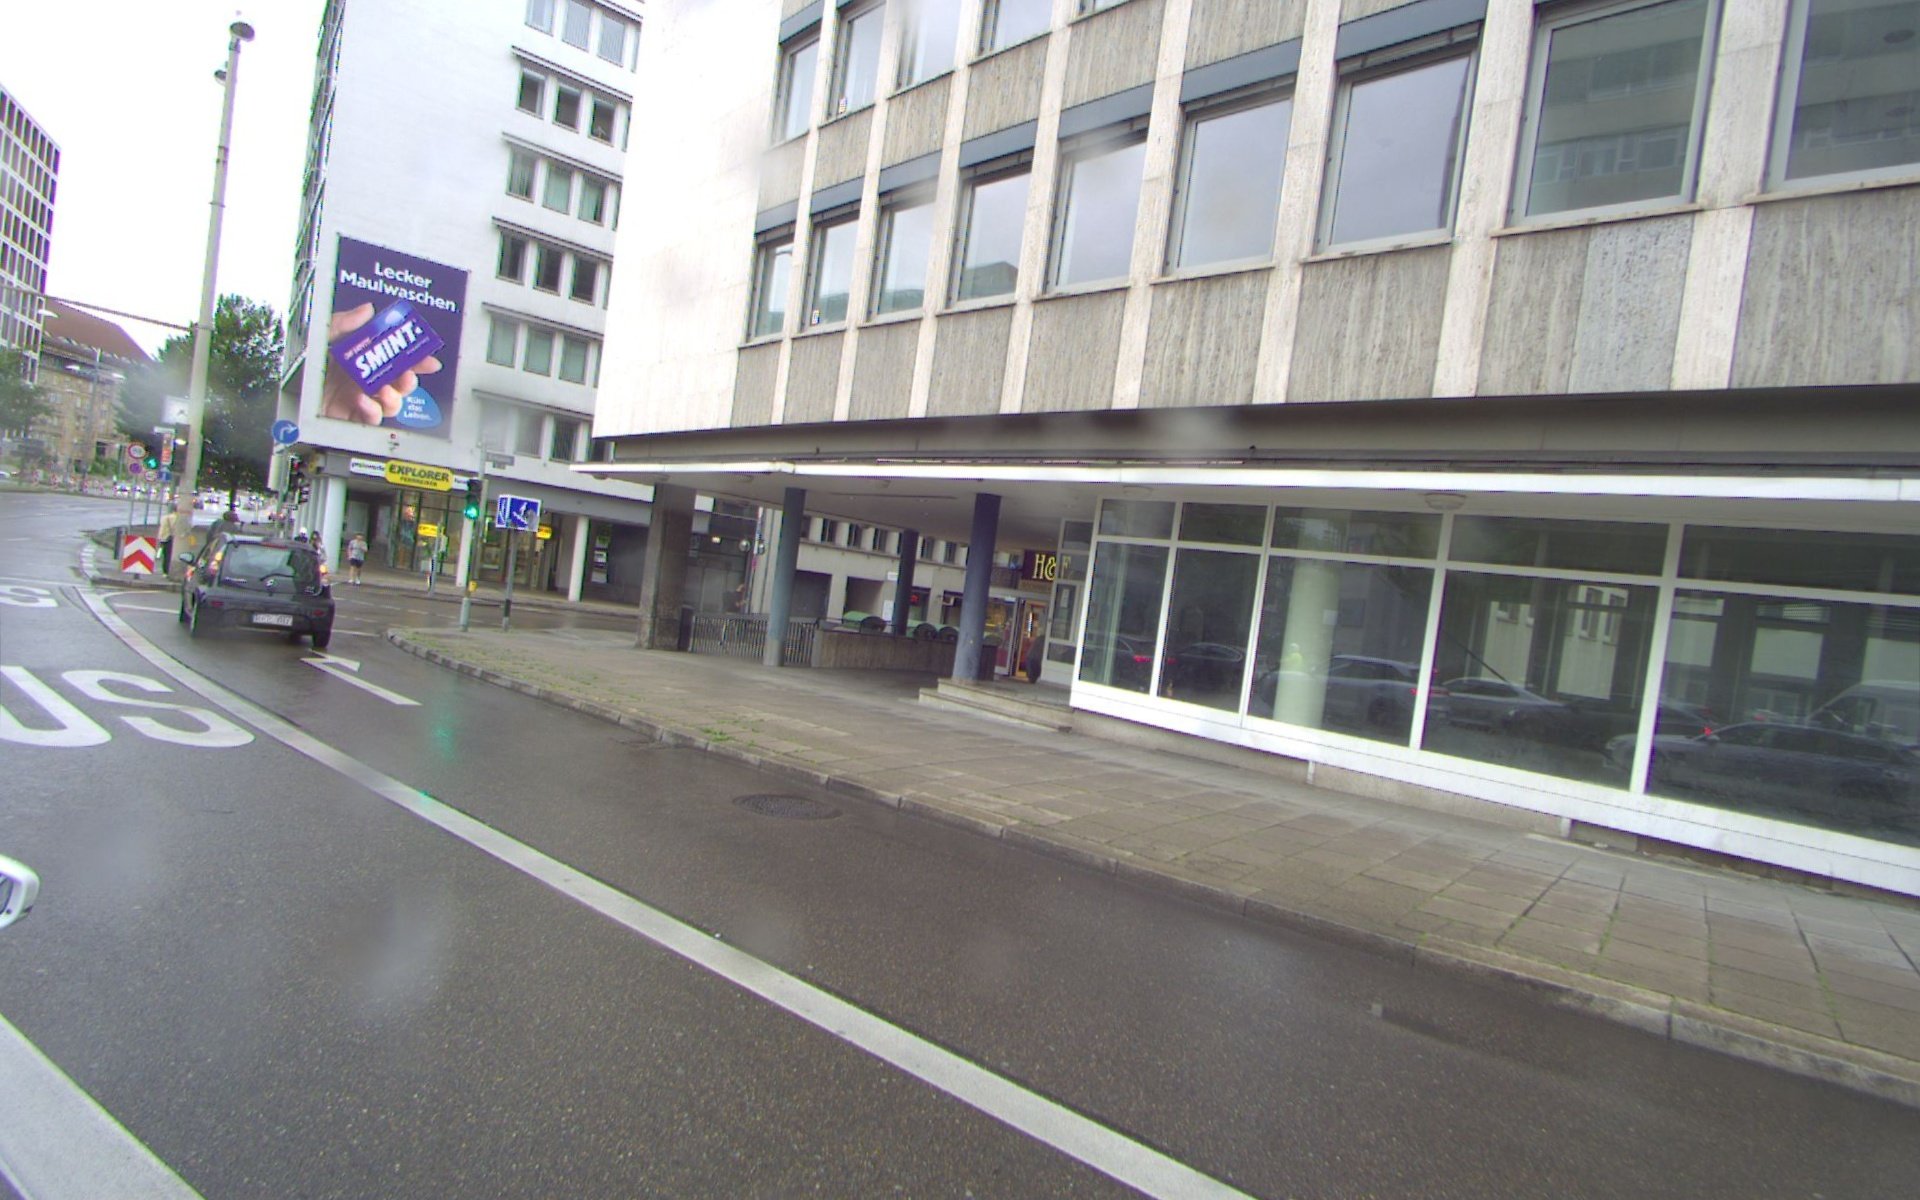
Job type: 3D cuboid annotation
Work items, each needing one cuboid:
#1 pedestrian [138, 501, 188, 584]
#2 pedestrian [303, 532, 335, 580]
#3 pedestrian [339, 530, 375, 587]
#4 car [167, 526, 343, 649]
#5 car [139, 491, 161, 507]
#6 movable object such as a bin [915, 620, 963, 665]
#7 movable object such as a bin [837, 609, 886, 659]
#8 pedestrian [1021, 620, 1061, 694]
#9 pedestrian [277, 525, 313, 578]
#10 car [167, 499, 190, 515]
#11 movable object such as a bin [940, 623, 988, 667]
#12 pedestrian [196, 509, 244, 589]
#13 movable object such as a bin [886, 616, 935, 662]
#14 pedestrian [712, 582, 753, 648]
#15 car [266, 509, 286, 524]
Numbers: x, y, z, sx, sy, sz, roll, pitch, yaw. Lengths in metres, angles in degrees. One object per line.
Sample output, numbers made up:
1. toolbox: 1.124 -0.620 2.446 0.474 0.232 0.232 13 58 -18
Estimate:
1. pedestrian: -18.604 -1.352 23.492 0.745 1.820 0.808 7 1 -38
2. pedestrian: -22.172 -1.503 34.809 0.616 1.561 0.651 8 0 -15
3. pedestrian: -20.538 -1.404 34.277 0.660 1.815 0.771 7 0 -15
4. car: -10.561 -0.247 14.945 1.566 1.446 3.953 9 -2 -42
5. car: -132.764 -16.520 164.884 1.980 2.037 3.968 8 -1 -31
6. movable object such as a bin: -0.751 1.505 35.941 1.094 1.399 1.186 7 1 -37
7. movable object such as a bin: -3.289 1.124 33.538 0.961 1.447 1.268 7 1 -36
8. pedestrian: 2.127 1.478 26.315 0.697 1.825 0.801 8 0 13
9. pedestrian: -22.811 -1.653 34.513 0.660 1.675 0.651 8 0 -15
10. car: -98.488 -11.694 126.808 1.877 1.662 3.962 8 -1 -35
11. movable object such as a bin: 0.153 1.632 36.629 1.094 1.399 1.186 7 1 -37
12. pedestrian: -17.961 -1.247 24.411 0.745 1.820 0.808 7 1 -38
13. movable object such as a bin: -1.746 1.372 35.165 1.094 1.399 1.186 7 1 -37
14. pedestrian: -6.456 0.423 28.549 0.768 1.752 0.589 7 0 -44
15. car: -91.617 -11.187 134.744 1.680 1.503 3.973 8 -2 -28
